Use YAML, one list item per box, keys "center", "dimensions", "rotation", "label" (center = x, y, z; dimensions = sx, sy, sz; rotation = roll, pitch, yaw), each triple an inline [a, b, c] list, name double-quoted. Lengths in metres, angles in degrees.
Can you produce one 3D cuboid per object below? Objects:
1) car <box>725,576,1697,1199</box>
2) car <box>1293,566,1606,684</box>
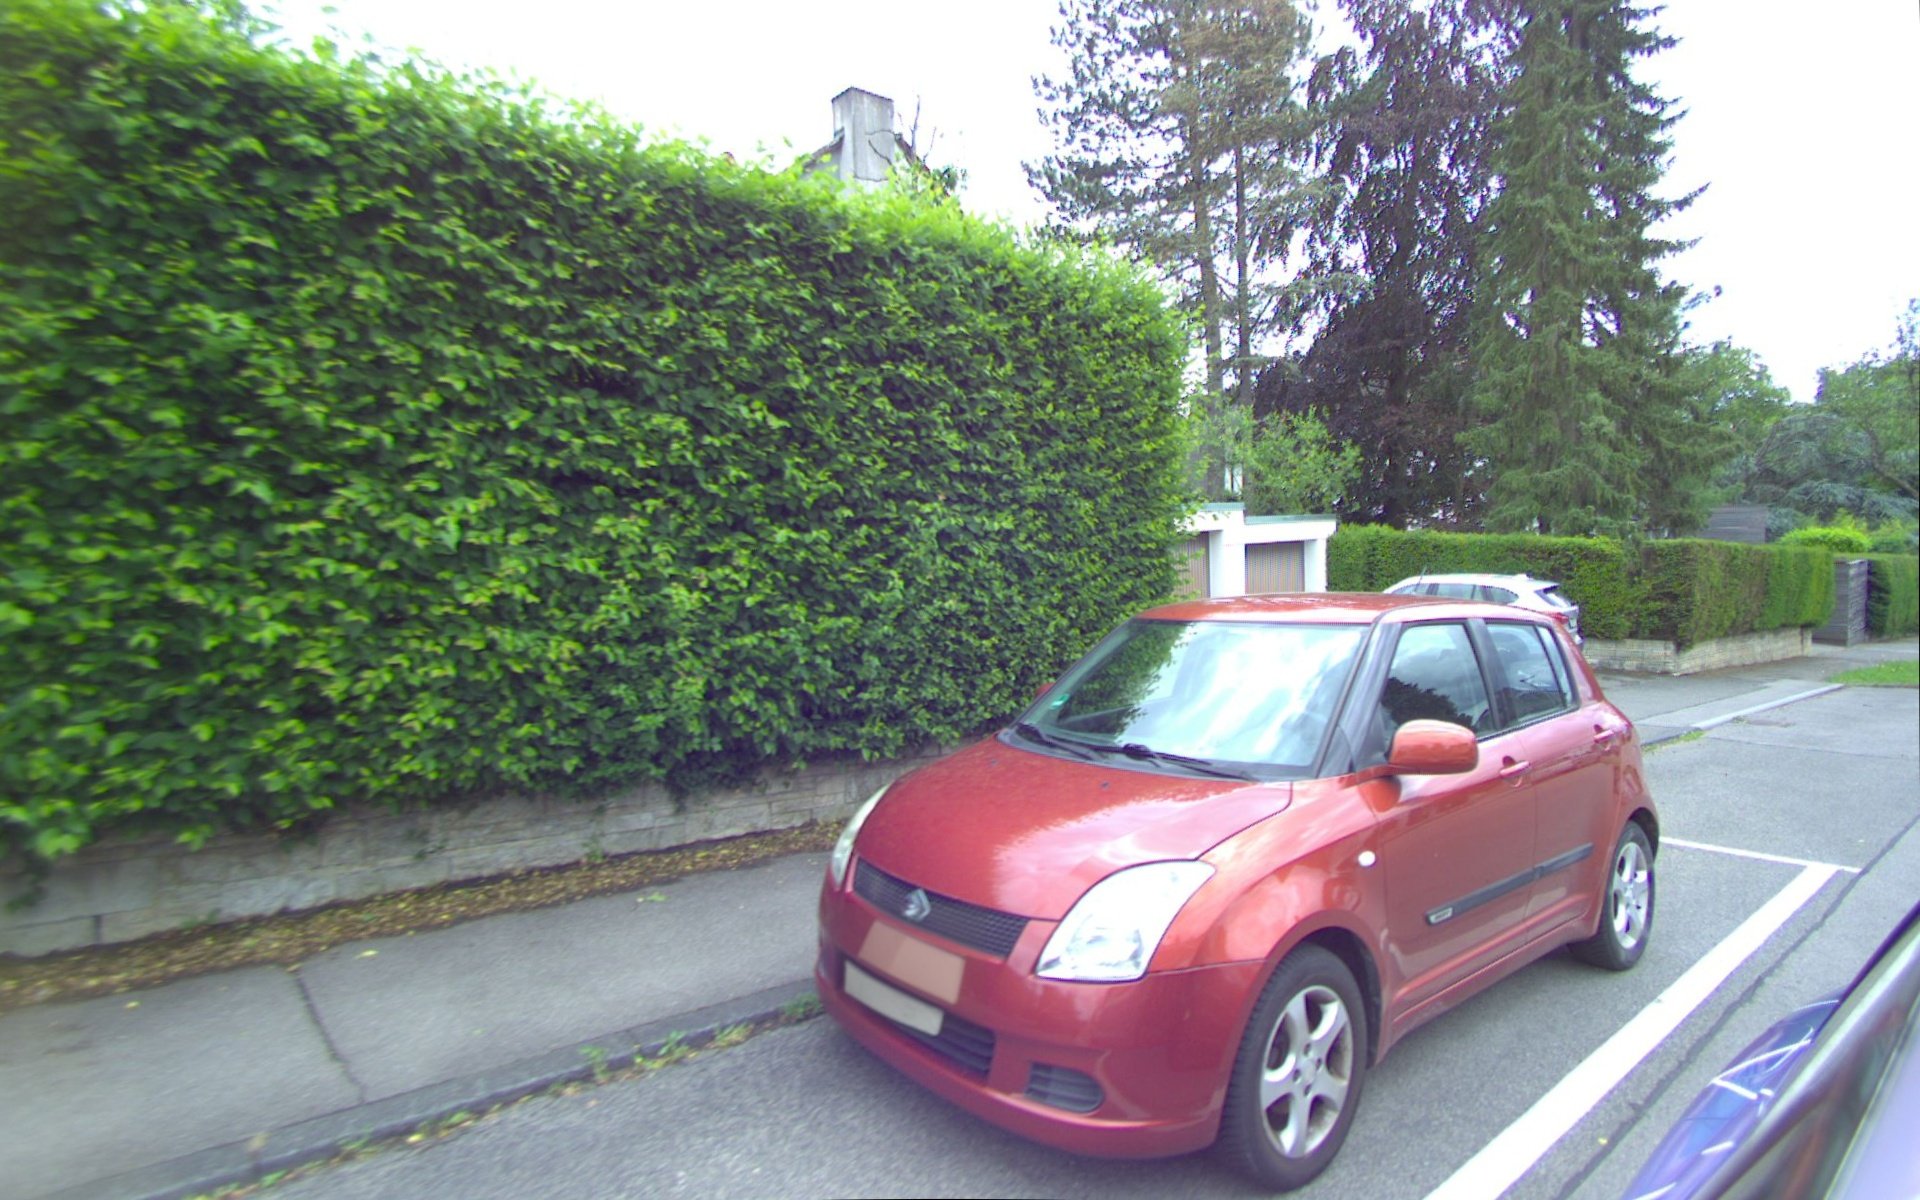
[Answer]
- center: [1.198, 0.709, 3.767]
  dimensions: [3.692, 1.527, 1.664]
  rotation: [0, 1, -40]
  label: "car"
- center: [7.800, 0.296, 16.351]
  dimensions: [4.205, 1.619, 1.854]
  rotation: [3, 2, 42]
  label: "car"
